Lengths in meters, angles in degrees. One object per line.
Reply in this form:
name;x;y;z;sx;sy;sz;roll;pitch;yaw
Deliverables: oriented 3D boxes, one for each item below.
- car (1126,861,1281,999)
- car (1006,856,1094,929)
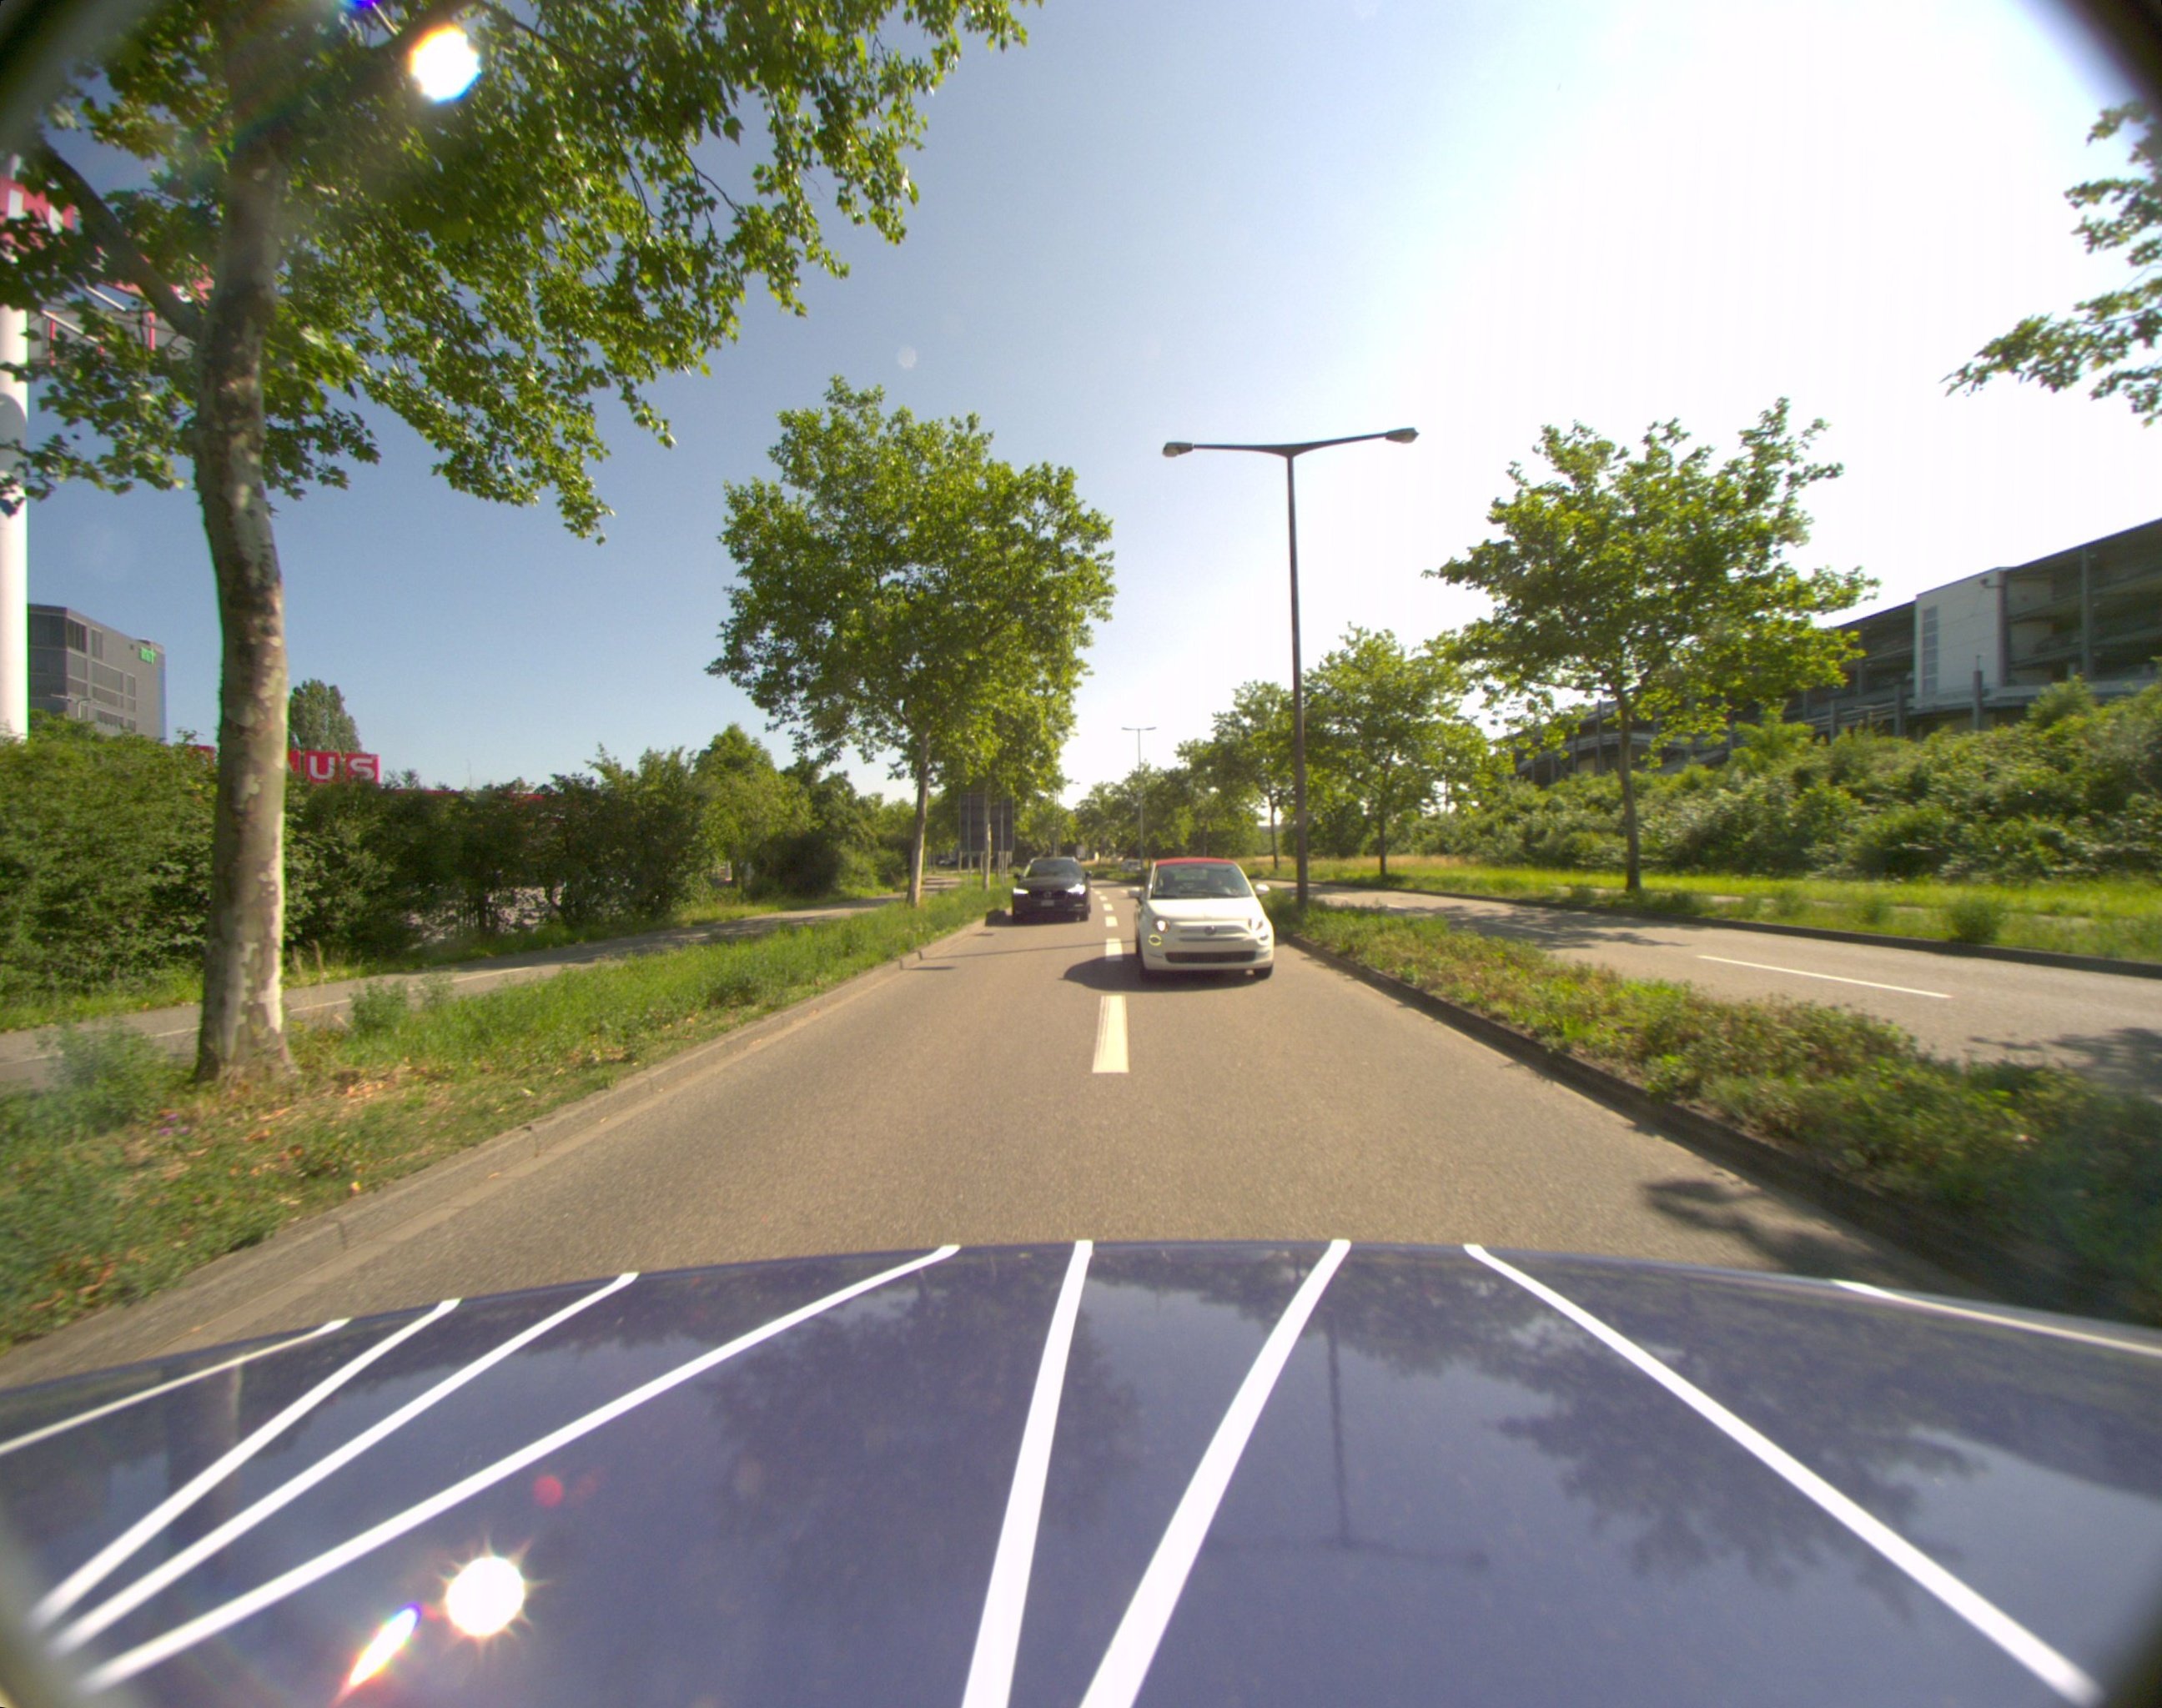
car;1.488;0.881;10.371;1.665;1.428;3.520;-2;1;3
car;-0.694;0.923;20.378;1.924;1.613;4.565;-2;1;2
